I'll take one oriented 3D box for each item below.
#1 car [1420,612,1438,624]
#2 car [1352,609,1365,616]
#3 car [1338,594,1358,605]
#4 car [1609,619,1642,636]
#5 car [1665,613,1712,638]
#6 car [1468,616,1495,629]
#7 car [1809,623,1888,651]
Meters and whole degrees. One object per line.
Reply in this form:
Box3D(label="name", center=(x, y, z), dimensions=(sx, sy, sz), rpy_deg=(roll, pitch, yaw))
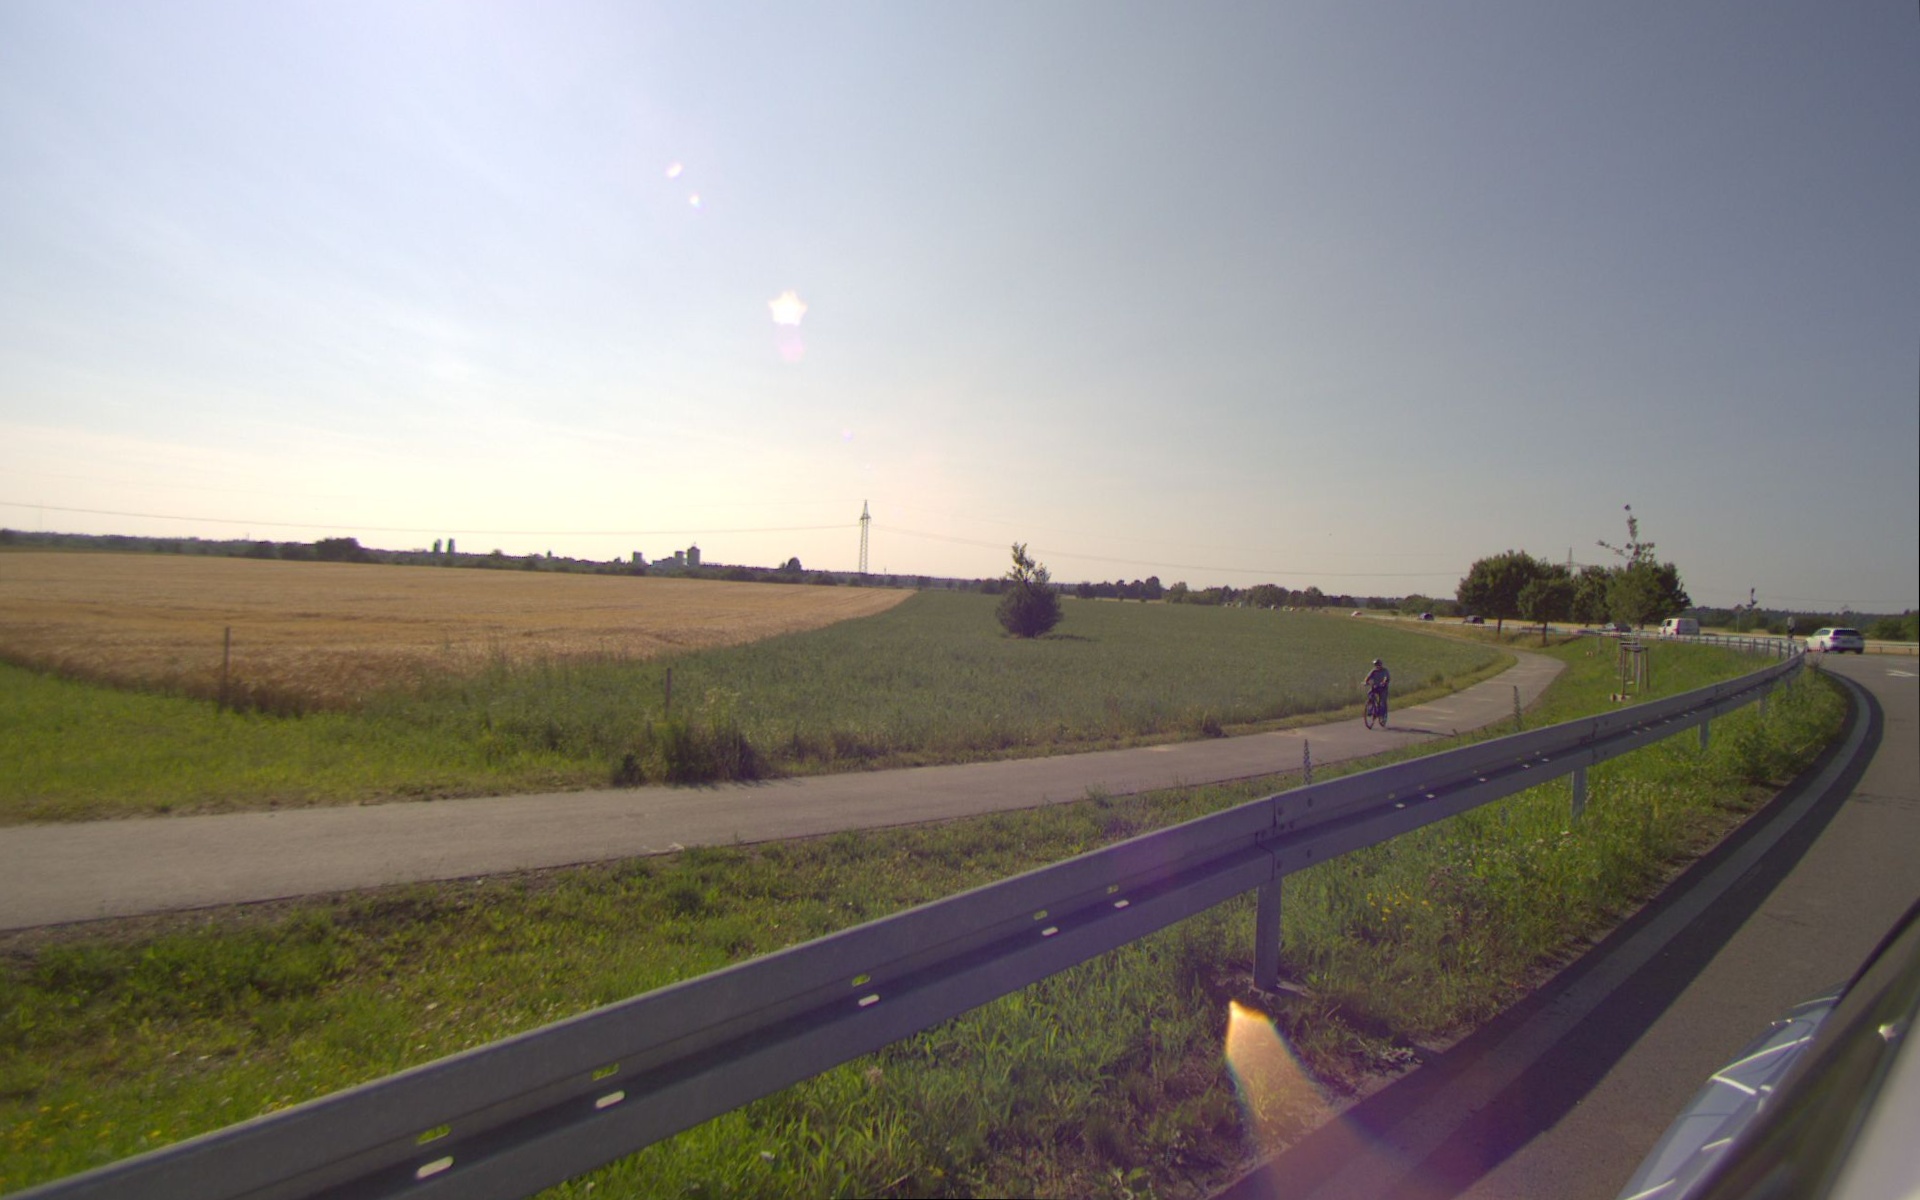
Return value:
Box3D(label="car", center=(78.819, 3.007, 170.120), dimensions=(1.861, 1.820, 5.070), rpy_deg=(0, 1, 14))
Box3D(label="car", center=(86.649, 2.743, 220.336), dimensions=(1.829, 1.467, 4.141), rpy_deg=(0, 0, 10))
Box3D(label="car", center=(79.346, -0.116, 206.970), dimensions=(2.772, 2.039, 6.083), rpy_deg=(0, 0, 11))
Box3D(label="car", center=(66.798, 2.776, 101.643), dimensions=(1.778, 1.467, 4.671), rpy_deg=(1, -3, 20))
Box3D(label="car", center=(64.275, 2.259, 89.380), dimensions=(2.097, 2.040, 5.113), rpy_deg=(1, -3, 22))
Box3D(label="car", center=(75.942, 3.269, 147.445), dimensions=(1.967, 1.613, 4.851), rpy_deg=(1, 0, 8))
Box3D(label="car", center=(51.784, 2.190, 59.096), dimensions=(2.100, 1.512, 5.104), rpy_deg=(1, -3, 26))
